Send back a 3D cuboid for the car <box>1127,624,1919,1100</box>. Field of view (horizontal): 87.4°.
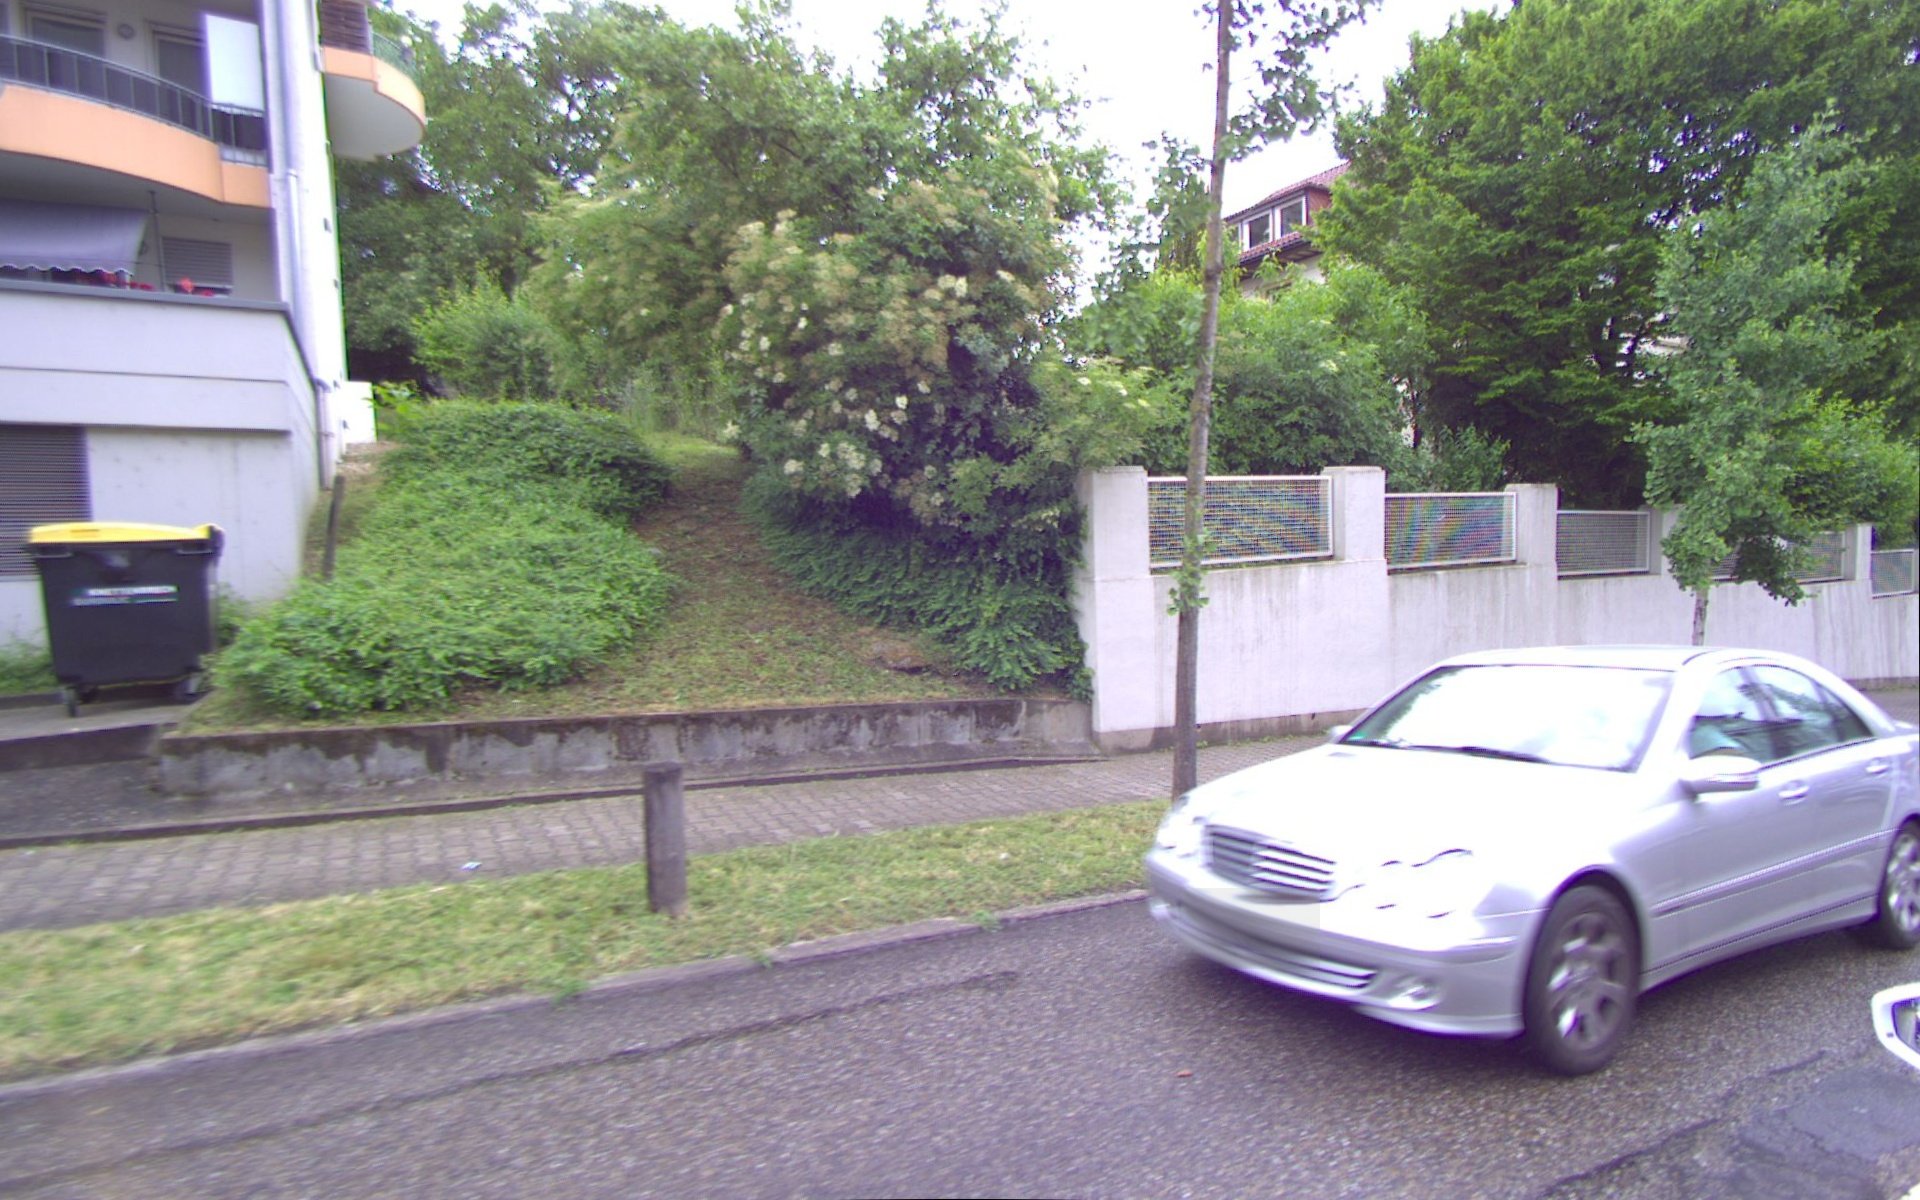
[{"bbox_3d":[2.986,0.826,4.803,4.235,1.403,1.711,1,-2,-31],"label":"car"}]

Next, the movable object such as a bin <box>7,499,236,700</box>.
[{"bbox_3d":[-6.206,-0.057,7.528,1.152,1.333,1.252,-4,5,-38],"label":"movable object such as a bin"}]
